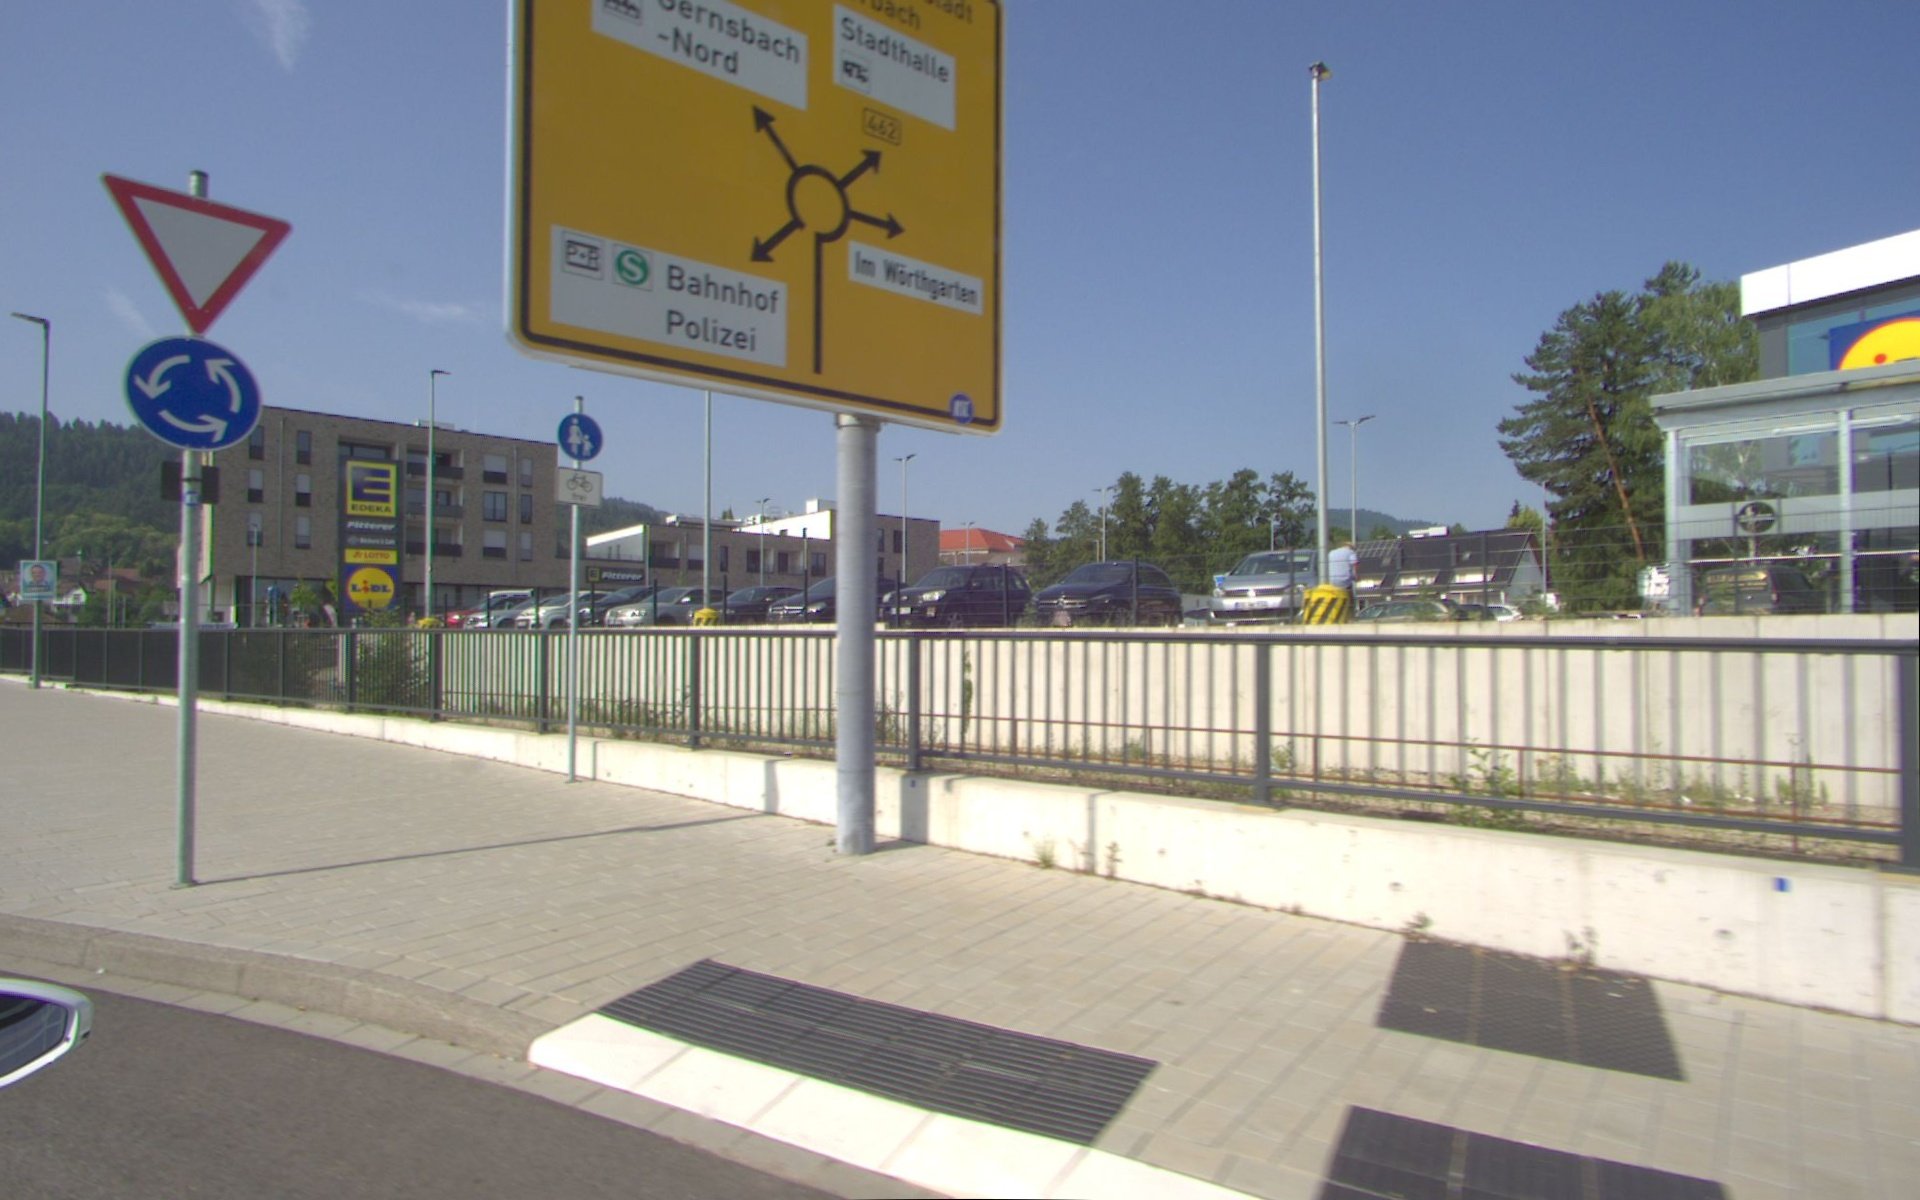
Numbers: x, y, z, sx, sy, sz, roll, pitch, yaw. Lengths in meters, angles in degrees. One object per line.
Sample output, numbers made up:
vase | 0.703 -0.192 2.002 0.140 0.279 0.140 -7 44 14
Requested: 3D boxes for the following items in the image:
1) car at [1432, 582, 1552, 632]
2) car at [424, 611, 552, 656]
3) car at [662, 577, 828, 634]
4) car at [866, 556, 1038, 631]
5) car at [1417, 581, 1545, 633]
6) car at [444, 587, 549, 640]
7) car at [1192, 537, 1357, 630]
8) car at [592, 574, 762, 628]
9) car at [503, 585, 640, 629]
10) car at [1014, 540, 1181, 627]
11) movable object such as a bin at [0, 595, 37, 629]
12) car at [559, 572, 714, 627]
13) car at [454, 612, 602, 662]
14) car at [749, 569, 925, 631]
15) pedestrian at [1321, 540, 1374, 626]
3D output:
car | 19.205 0.306 36.222 3.584 1.651 1.591 -2 -3 39
car | -15.800 1.138 33.656 1.688 1.448 3.546 -1 -3 36
car | -5.272 0.193 25.021 1.707 1.261 3.956 -1 -3 35
car | -0.071 -0.062 21.537 1.702 1.422 3.995 -1 -3 35
car | 17.792 0.283 34.253 3.662 1.604 1.612 -2 -3 39
car | -20.197 0.616 43.677 3.947 2.163 1.989 1 -2 -33
car | 5.557 -0.193 17.405 1.658 1.381 3.796 -1 -3 35
car | -7.433 0.084 26.670 1.642 1.261 4.268 -1 -3 35
car | -11.713 0.248 30.377 1.692 1.214 3.546 -1 -3 36
car | 2.719 -0.221 19.054 1.466 1.422 4.051 -1 -2 35
movable object such as a bin | -54.342 0.709 57.106 1.414 1.867 2.429 -2 -3 45
car | -9.118 0.043 28.501 1.638 1.359 4.026 -1 -3 36
car | -13.779 1.196 32.104 1.695 1.506 4.042 -1 -3 38
car | -2.775 0.061 23.454 1.721 1.261 4.202 -1 -3 35
pedestrian | 6.265 -0.255 16.180 0.649 1.328 0.545 -2 -2 38
